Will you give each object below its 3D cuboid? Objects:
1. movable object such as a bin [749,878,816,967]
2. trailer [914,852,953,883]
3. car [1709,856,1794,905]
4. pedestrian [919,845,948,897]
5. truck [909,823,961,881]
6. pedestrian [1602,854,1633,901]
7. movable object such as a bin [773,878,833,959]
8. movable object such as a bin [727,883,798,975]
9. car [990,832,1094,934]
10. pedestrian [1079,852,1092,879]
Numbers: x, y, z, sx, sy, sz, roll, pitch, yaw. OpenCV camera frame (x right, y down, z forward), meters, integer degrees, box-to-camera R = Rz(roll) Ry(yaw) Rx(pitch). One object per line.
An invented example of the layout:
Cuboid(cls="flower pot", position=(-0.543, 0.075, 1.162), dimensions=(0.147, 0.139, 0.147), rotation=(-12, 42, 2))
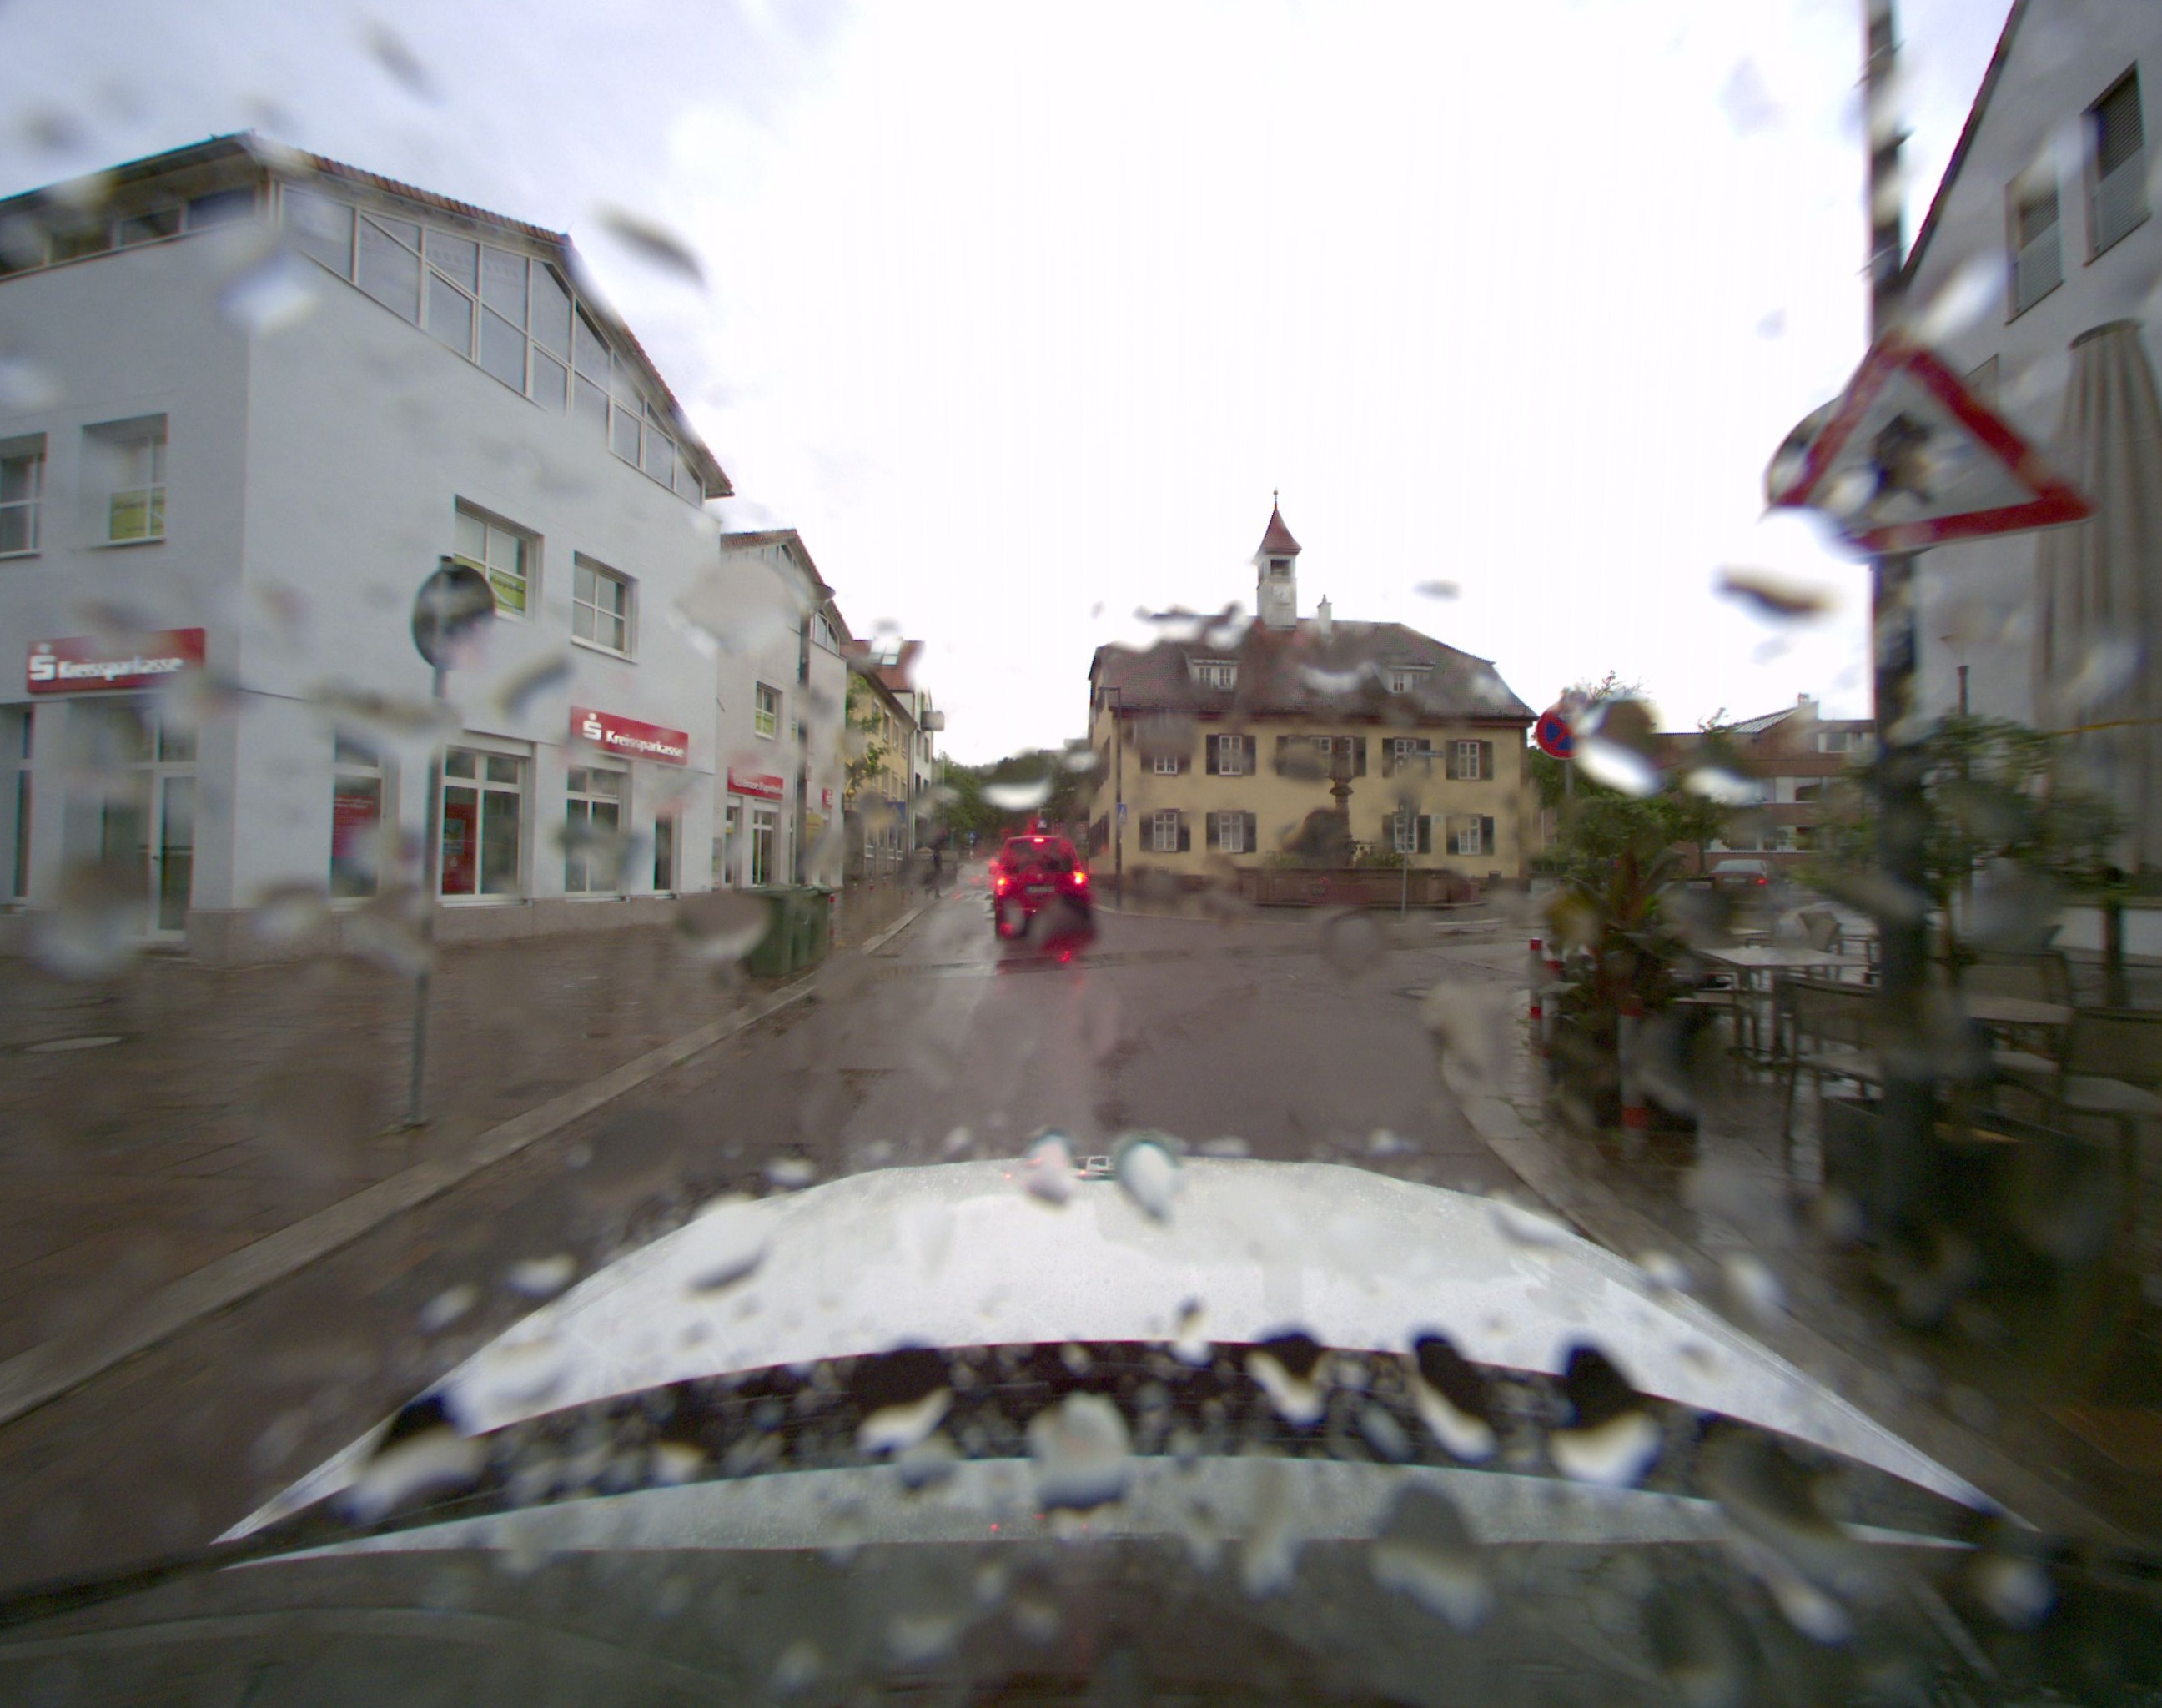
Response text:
Cuboid(cls="movable object such as a bin", position=(-3.883, 0.876, 10.615), dimensions=(0.656, 1.115, 0.552), rotation=(-1, -1, 0))
Cuboid(cls="trailer", position=(-6.900, 0.601, 38.372), dimensions=(1.728, 1.346, 3.151), rotation=(0, 1, -9))
Cuboid(cls="car", position=(20.184, 0.747, 24.482), dimensions=(1.652, 1.363, 3.627), rotation=(-1, -1, 44))
Cuboid(cls="pedestrian", position=(-4.882, 0.561, 26.923), dimensions=(0.863, 1.693, 0.715), rotation=(0, 0, -4))
Cuboid(cls="truck", position=(-7.663, -0.154, 43.175), dimensions=(2.473, 2.795, 6.579), rotation=(0, 1, -9))
Cuboid(cls="pedestrian", position=(21.392, 0.929, 32.480), dimensions=(0.688, 1.822, 0.785), rotation=(0, -1, -31))
Cuboid(cls="movable object such as a bin", position=(-3.975, 0.909, 11.676), dimensions=(0.657, 1.096, 0.613), rotation=(0, -1, -2))
Cuboid(cls="movable object such as a bin", position=(-3.911, 0.908, 10.028), dimensions=(0.656, 1.082, 0.552), rotation=(-1, -1, 0))
Cuboid(cls="car", position=(-0.893, 0.524, 16.898), dimensions=(1.859, 1.830, 4.177), rotation=(-1, 0, -5))
Cuboid(cls="pedestrian", position=(0.279, 0.677, 49.317), dimensions=(0.726, 1.617, 0.693), rotation=(0, -1, -2))
